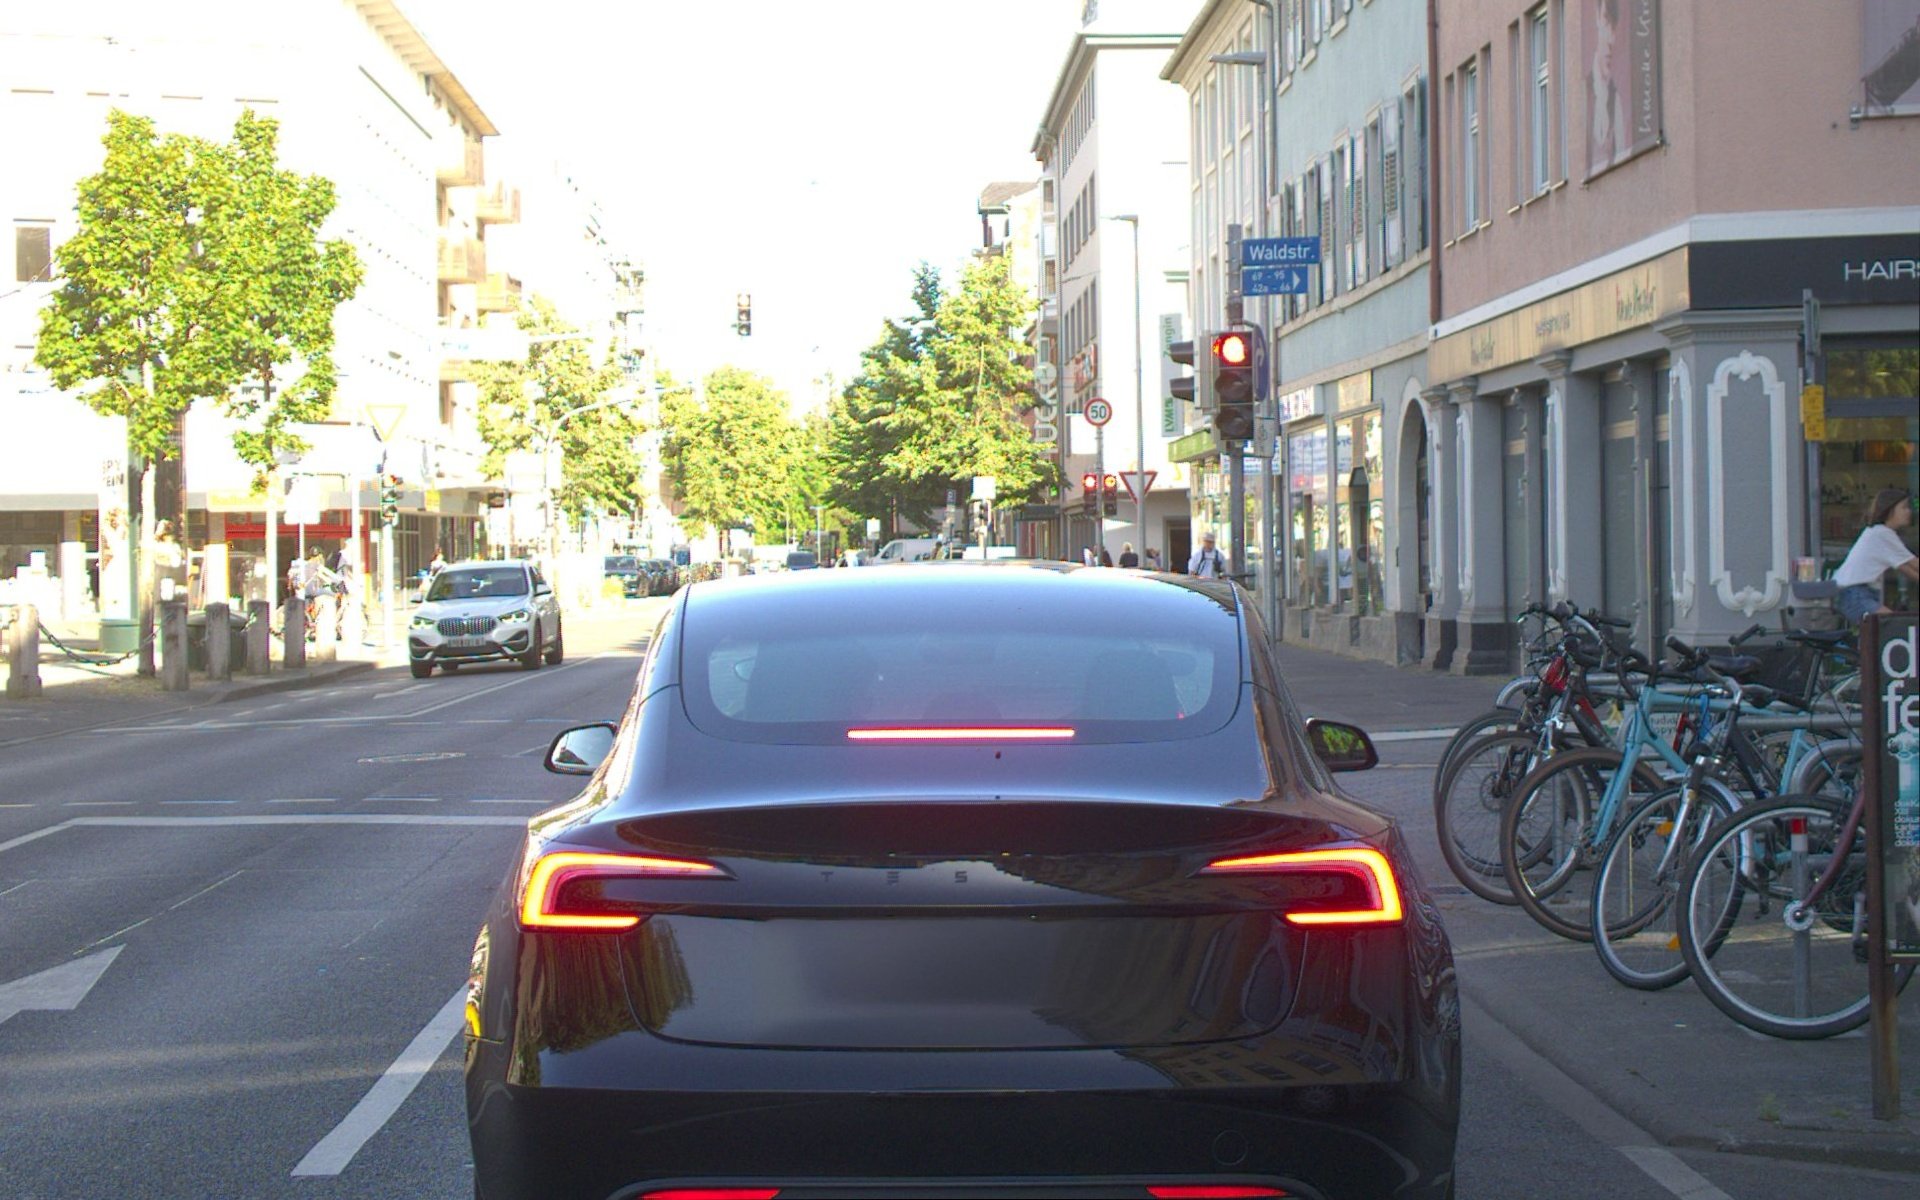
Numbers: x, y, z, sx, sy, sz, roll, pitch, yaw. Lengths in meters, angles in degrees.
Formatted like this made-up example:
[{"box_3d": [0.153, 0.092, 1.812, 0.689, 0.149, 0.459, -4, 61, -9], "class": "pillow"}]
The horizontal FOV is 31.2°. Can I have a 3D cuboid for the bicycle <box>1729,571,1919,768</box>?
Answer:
[{"box_3d": [6.033, 0.421, 21.923, 2.127, 1.196, 0.628, -2, 0, 16], "class": "bicycle"}]

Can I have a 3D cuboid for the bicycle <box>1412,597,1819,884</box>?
[{"box_3d": [2.802, 0.595, 14.767, 1.628, 1.156, 0.433, -2, 1, 1], "class": "bicycle"}]

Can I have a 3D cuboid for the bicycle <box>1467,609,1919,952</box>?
[{"box_3d": [2.709, 0.644, 12.480, 1.627, 1.156, 0.433, -2, 1, -1], "class": "bicycle"}]

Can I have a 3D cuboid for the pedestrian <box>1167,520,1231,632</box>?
[{"box_3d": [3.940, -0.397, 56.738, 0.999, 1.844, 0.615, 0, 1, -1], "class": "pedestrian"}]

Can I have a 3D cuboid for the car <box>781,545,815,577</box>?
[{"box_3d": [-8.790, -2.142, 187.145, 1.829, 1.718, 4.000, 0, 1, -2], "class": "car"}]

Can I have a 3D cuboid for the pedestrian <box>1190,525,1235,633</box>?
[{"box_3d": [4.162, -0.347, 56.674, 0.704, 1.777, 0.533, 0, 1, -1], "class": "pedestrian"}]

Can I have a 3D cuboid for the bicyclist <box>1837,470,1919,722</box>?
[{"box_3d": [6.159, -0.031, 21.892, 1.098, 1.583, 0.628, 0, 1, 16], "class": "bicyclist"}]

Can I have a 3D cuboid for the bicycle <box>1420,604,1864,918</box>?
[{"box_3d": [2.678, 0.625, 13.568, 1.627, 1.156, 0.433, -2, 1, -1], "class": "bicycle"}]

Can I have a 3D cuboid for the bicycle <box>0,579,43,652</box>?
[{"box_3d": [-15.067, 0.234, 52.176, 2.082, 1.100, 0.806, 0, 1, -1], "class": "bicycle"}]

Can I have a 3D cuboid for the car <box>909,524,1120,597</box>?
[{"box_3d": [1.307, -0.957, 82.473, 4.645, 1.721, 2.054, 0, 1, 28], "class": "car"}]

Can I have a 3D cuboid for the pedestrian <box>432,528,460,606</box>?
[{"box_3d": [-13.375, -0.861, 89.476, 0.626, 2.007, 0.575, 0, 1, -1], "class": "pedestrian"}]

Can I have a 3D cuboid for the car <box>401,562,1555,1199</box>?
[{"box_3d": [0.035, 0.651, 7.415, 1.850, 1.450, 3.786, 0, 1, 0], "class": "car"}]

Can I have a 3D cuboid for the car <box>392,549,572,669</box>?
[{"box_3d": [-6.843, 0.098, 49.624, 1.993, 1.535, 4.000, -4, 1, -1], "class": "car"}]

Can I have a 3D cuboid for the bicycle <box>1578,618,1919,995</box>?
[{"box_3d": [2.889, 0.651, 11.211, 1.627, 1.156, 0.433, -2, 1, -1], "class": "bicycle"}]

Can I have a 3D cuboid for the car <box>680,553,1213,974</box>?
[{"box_3d": [-0.042, 0.543, 13.831, 1.850, 1.450, 3.786, 0, 1, 0], "class": "car"}]

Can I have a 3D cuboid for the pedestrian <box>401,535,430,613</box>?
[{"box_3d": [-14.175, -0.683, 89.493, 0.626, 2.007, 0.707, 0, 1, -1], "class": "pedestrian"}]

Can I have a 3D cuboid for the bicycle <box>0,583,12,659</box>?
[{"box_3d": [-14.928, 0.305, 49.983, 2.082, 1.100, 0.806, 0, 1, -1], "class": "bicycle"}]
